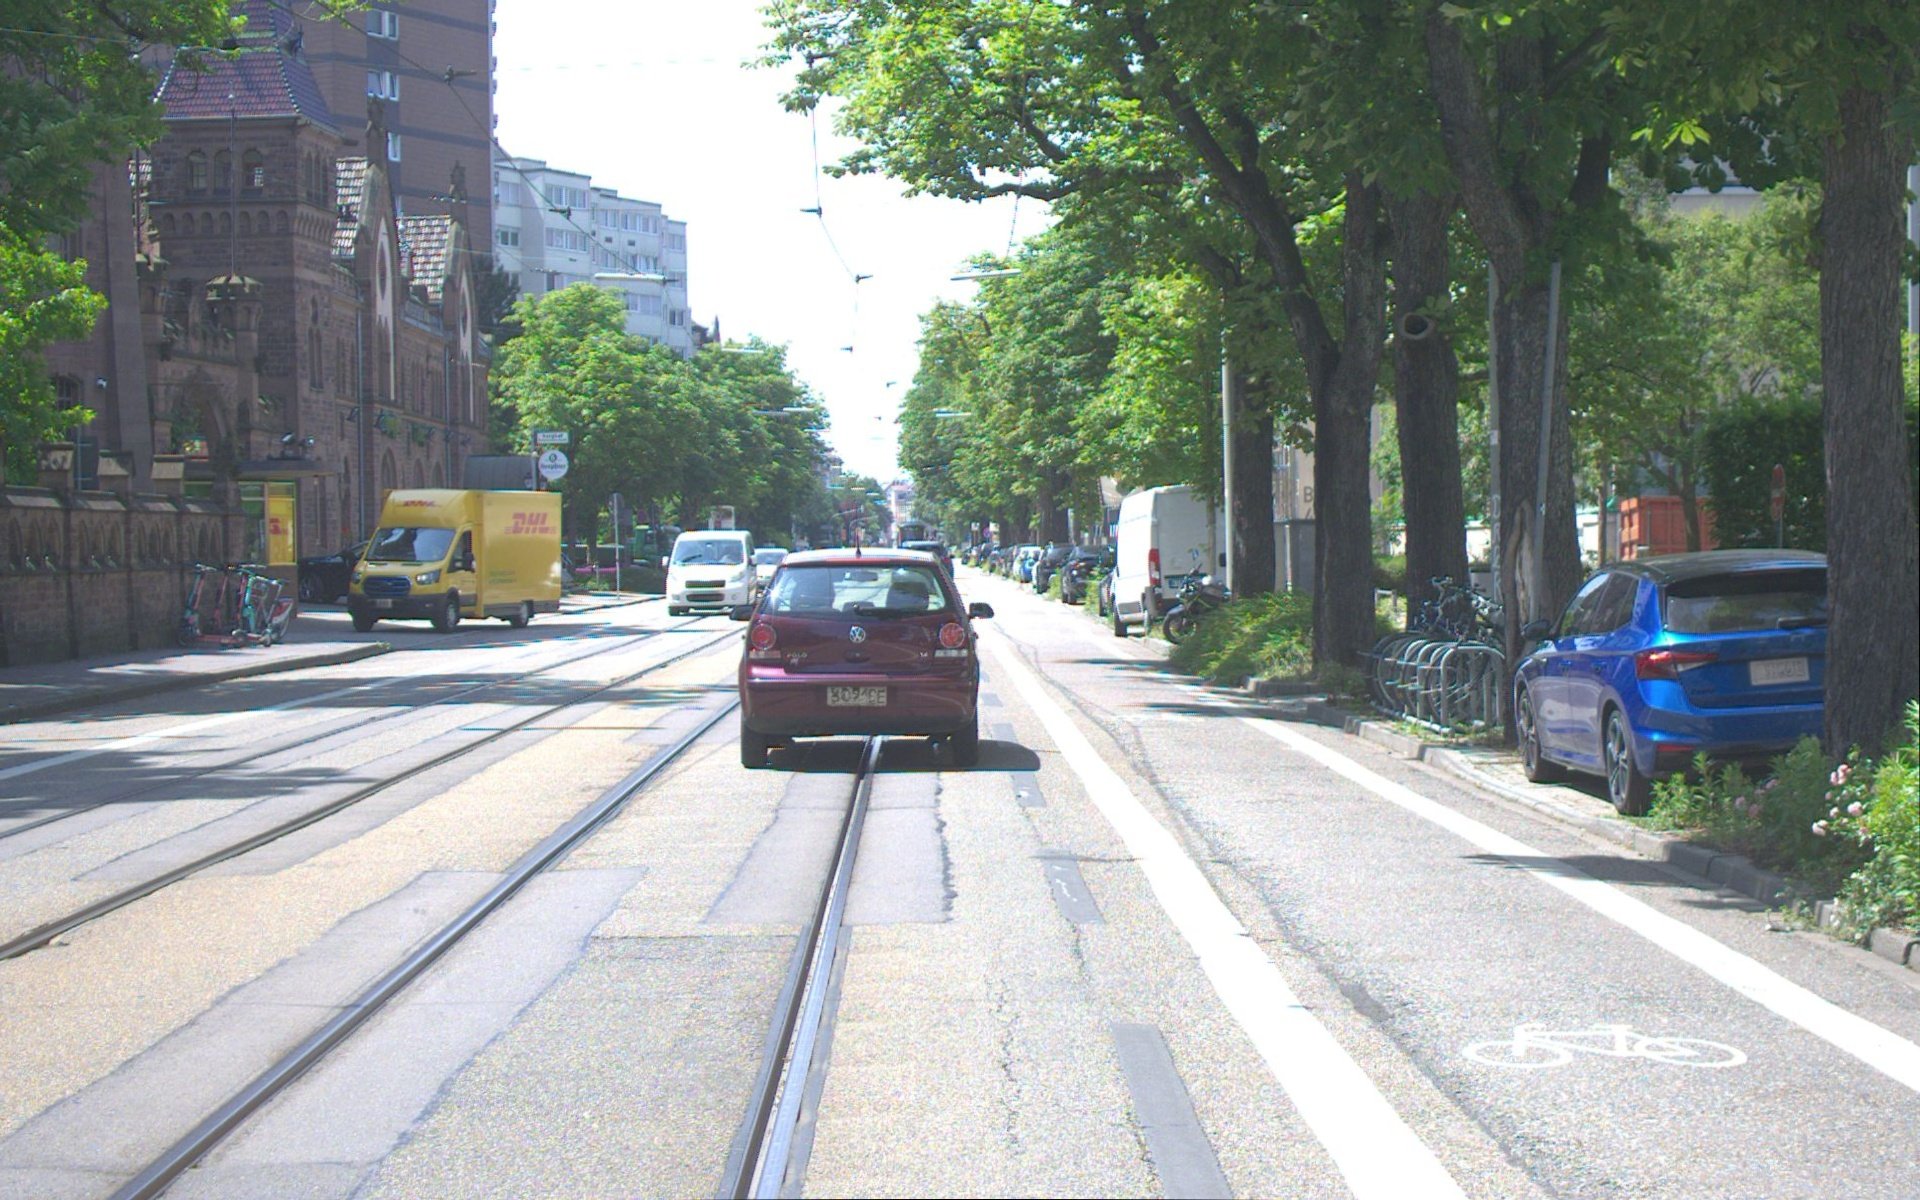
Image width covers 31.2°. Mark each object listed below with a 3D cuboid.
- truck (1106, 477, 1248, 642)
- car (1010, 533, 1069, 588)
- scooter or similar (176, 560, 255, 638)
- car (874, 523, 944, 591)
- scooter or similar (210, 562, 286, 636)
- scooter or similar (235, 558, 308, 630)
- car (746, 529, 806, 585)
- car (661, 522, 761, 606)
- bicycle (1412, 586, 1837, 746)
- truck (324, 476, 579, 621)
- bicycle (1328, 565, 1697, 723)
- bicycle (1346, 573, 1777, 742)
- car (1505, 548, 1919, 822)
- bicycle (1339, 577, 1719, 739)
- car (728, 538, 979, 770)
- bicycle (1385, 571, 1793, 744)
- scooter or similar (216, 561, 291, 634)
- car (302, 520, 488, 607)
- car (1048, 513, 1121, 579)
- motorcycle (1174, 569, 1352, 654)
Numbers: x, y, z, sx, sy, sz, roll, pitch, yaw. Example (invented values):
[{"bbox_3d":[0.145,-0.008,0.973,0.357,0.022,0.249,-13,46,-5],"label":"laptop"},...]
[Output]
[{"bbox_3d":[3.627,-0.721,58.197,1.993,2.652,4.875,1,1,-1],"label":"truck"},{"bbox_3d":[2.467,-1.253,107.142,1.674,1.650,4.000,1,1,-1],"label":"car"},{"bbox_3d":[-11.248,-0.017,51.923,1.088,1.151,0.527,0,1,-21],"label":"scooter or similar"},{"bbox_3d":[-1.569,-1.336,105.161,1.993,2.007,4.001,1,1,-3],"label":"car"},{"bbox_3d":[-11.273,-0.016,54.422,1.088,1.151,0.527,0,1,-21],"label":"scooter or similar"},{"bbox_3d":[-11.206,-0.093,55.944,1.088,1.151,0.527,0,1,-21],"label":"scooter or similar"},{"bbox_3d":[-5.659,-1.341,105.990,1.674,1.650,4.000,1,1,-1],"label":"car"},{"bbox_3d":[-5.695,-0.845,79.163,1.993,1.848,4.682,-1,1,-1],"label":"car"},{"bbox_3d":[5.049,0.499,26.240,3.069,1.150,0.782,1,1,-2],"label":"bicycle"},{"bbox_3d":[-10.164,-1.060,69.537,2.371,2.777,7.315,0,1,15],"label":"truck"},{"bbox_3d":[4.806,0.378,30.034,3.069,1.308,0.782,1,1,-2],"label":"bicycle"},{"bbox_3d":[4.906,0.461,28.162,3.367,1.308,0.782,1,1,-2],"label":"bicycle"},{"bbox_3d":[4.469,0.437,20.756,1.688,1.463,3.880,-1,1,-1],"label":"car"},{"bbox_3d":[4.806,0.484,29.158,3.069,1.308,0.782,1,1,-2],"label":"bicycle"},{"bbox_3d":[-0.732,0.315,24.385,1.619,1.481,4.000,-1,1,-1],"label":"car"},{"bbox_3d":[4.972,0.449,27.293,3.069,1.308,0.782,1,1,-2],"label":"bicycle"},{"bbox_3d":[-11.318,-0.045,55.044,1.088,1.151,0.527,0,1,-21],"label":"scooter or similar"},{"bbox_3d":[-13.366,-0.875,81.501,3.987,2.007,2.000,-1,1,4],"label":"car"},{"bbox_3d":[3.224,-1.424,89.571,1.674,1.650,4.000,1,1,-1],"label":"car"},{"bbox_3d":[4.428,0.157,50.301,2.555,1.183,0.941,1,1,5],"label":"motorcycle"}]
